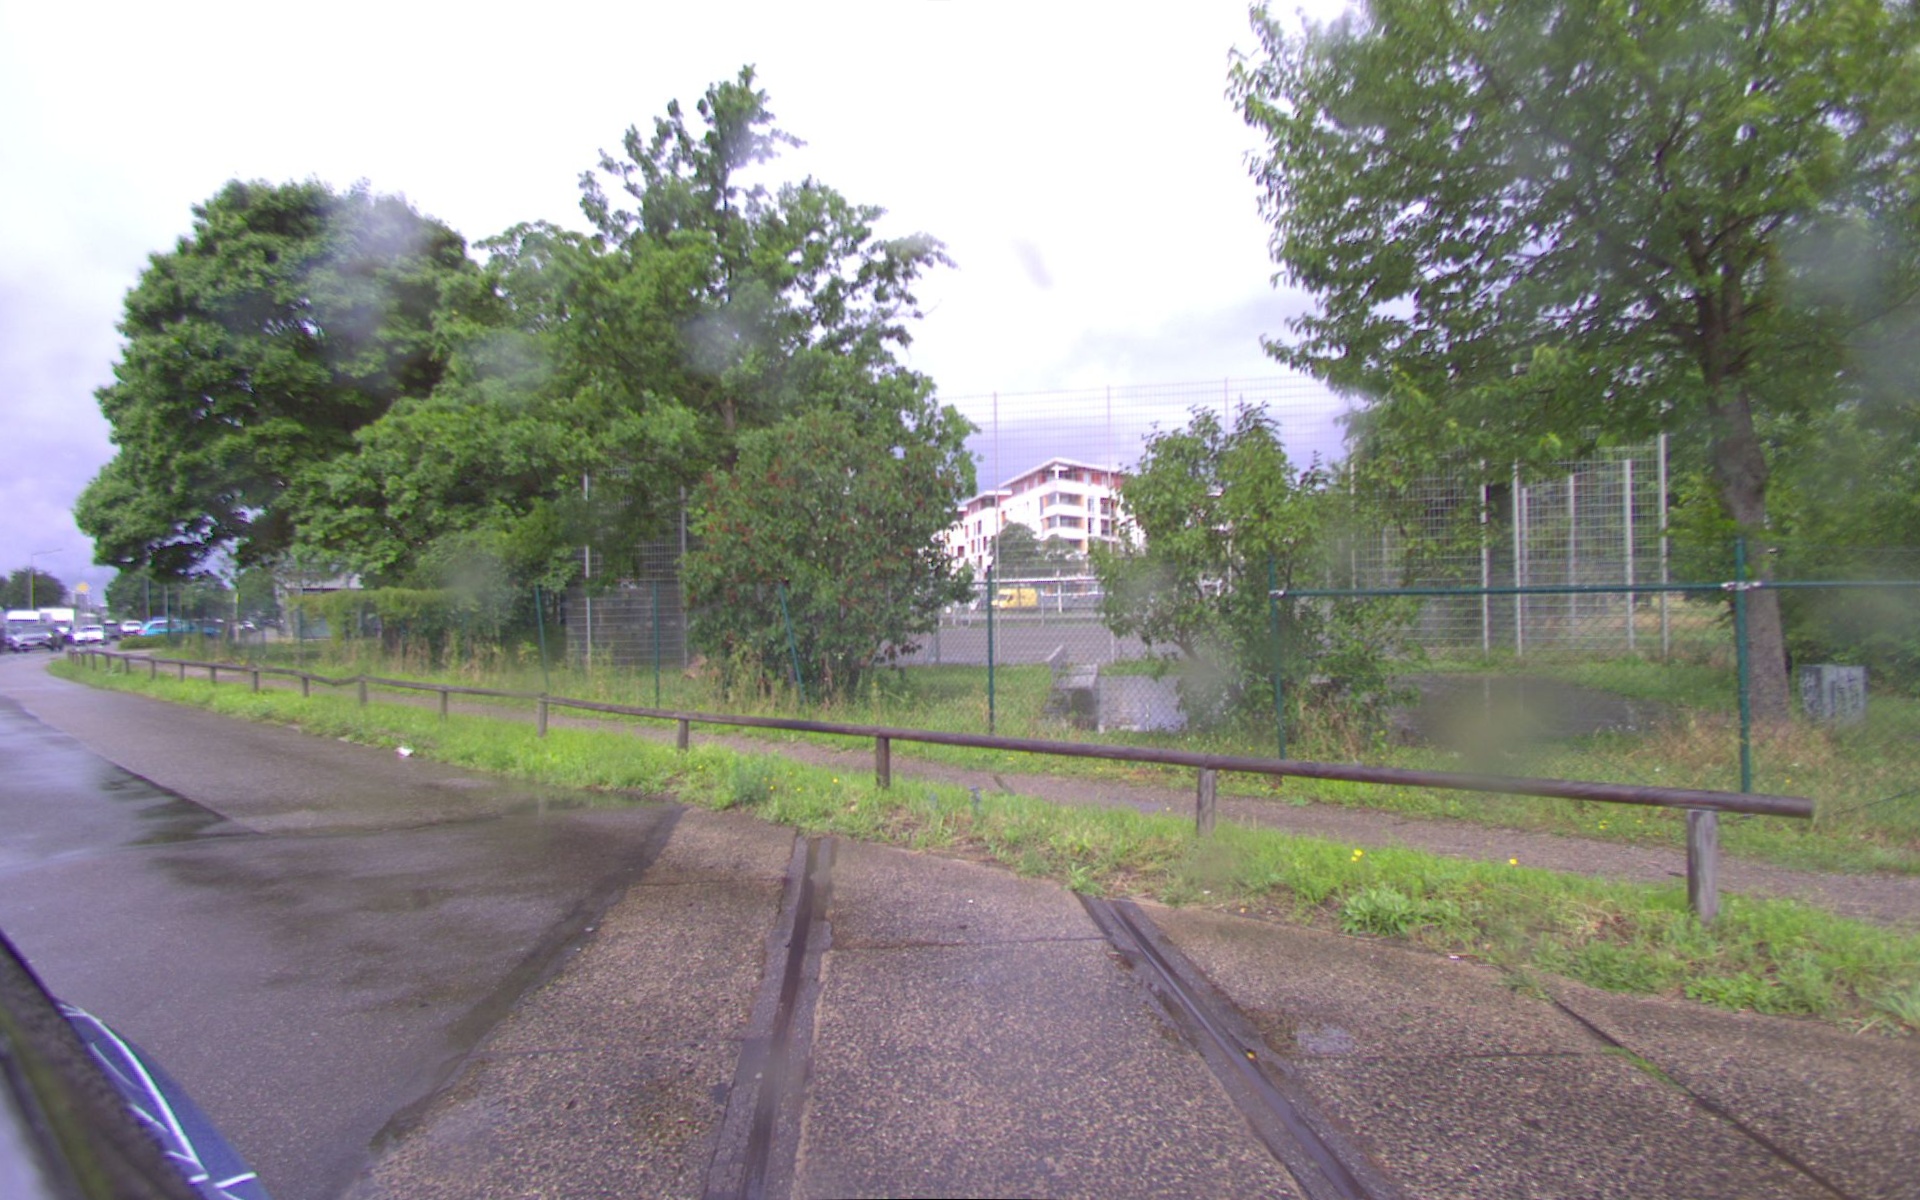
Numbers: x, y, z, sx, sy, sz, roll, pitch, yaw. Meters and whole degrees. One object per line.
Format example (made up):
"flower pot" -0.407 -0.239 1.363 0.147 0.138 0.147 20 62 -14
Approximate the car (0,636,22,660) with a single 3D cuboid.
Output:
"car" -61.517 3.049 64.522 1.706 1.505 4.453 1 -2 -32

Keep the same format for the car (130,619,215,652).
"car" -46.777 2.077 60.221 3.759 1.645 1.760 -5 2 -32

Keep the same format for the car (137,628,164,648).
"car" -89.038 4.127 111.286 1.967 2.028 4.010 -5 2 -35

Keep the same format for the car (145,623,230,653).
"car" -48.951 2.371 64.263 4.118 1.561 1.864 -4 1 -35

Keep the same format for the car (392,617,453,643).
"car" -32.472 1.780 61.108 4.123 1.407 1.667 -1 2 38

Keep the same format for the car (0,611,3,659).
"car" -57.487 2.016 58.651 2.116 2.905 5.288 2 -3 -36

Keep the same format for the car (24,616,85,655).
"car" -72.887 2.812 81.596 2.437 2.978 6.906 0 -2 -32

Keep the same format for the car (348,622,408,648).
"car" -34.287 2.042 59.580 4.183 1.407 1.623 -1 2 38

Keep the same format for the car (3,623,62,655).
"car" -54.377 2.279 59.405 1.979 1.718 4.340 -3 0 -35

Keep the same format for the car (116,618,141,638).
"car" -102.365 3.442 124.628 1.967 2.258 4.575 -1 -1 -34

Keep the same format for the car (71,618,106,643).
"car" -83.096 2.905 96.569 1.967 2.258 4.575 -1 -1 -34

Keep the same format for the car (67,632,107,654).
"car" -66.769 3.247 77.470 1.812 1.530 4.368 -1 -1 -34

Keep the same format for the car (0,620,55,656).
"car" -67.868 2.745 73.590 2.040 2.548 6.675 1 -2 -33
